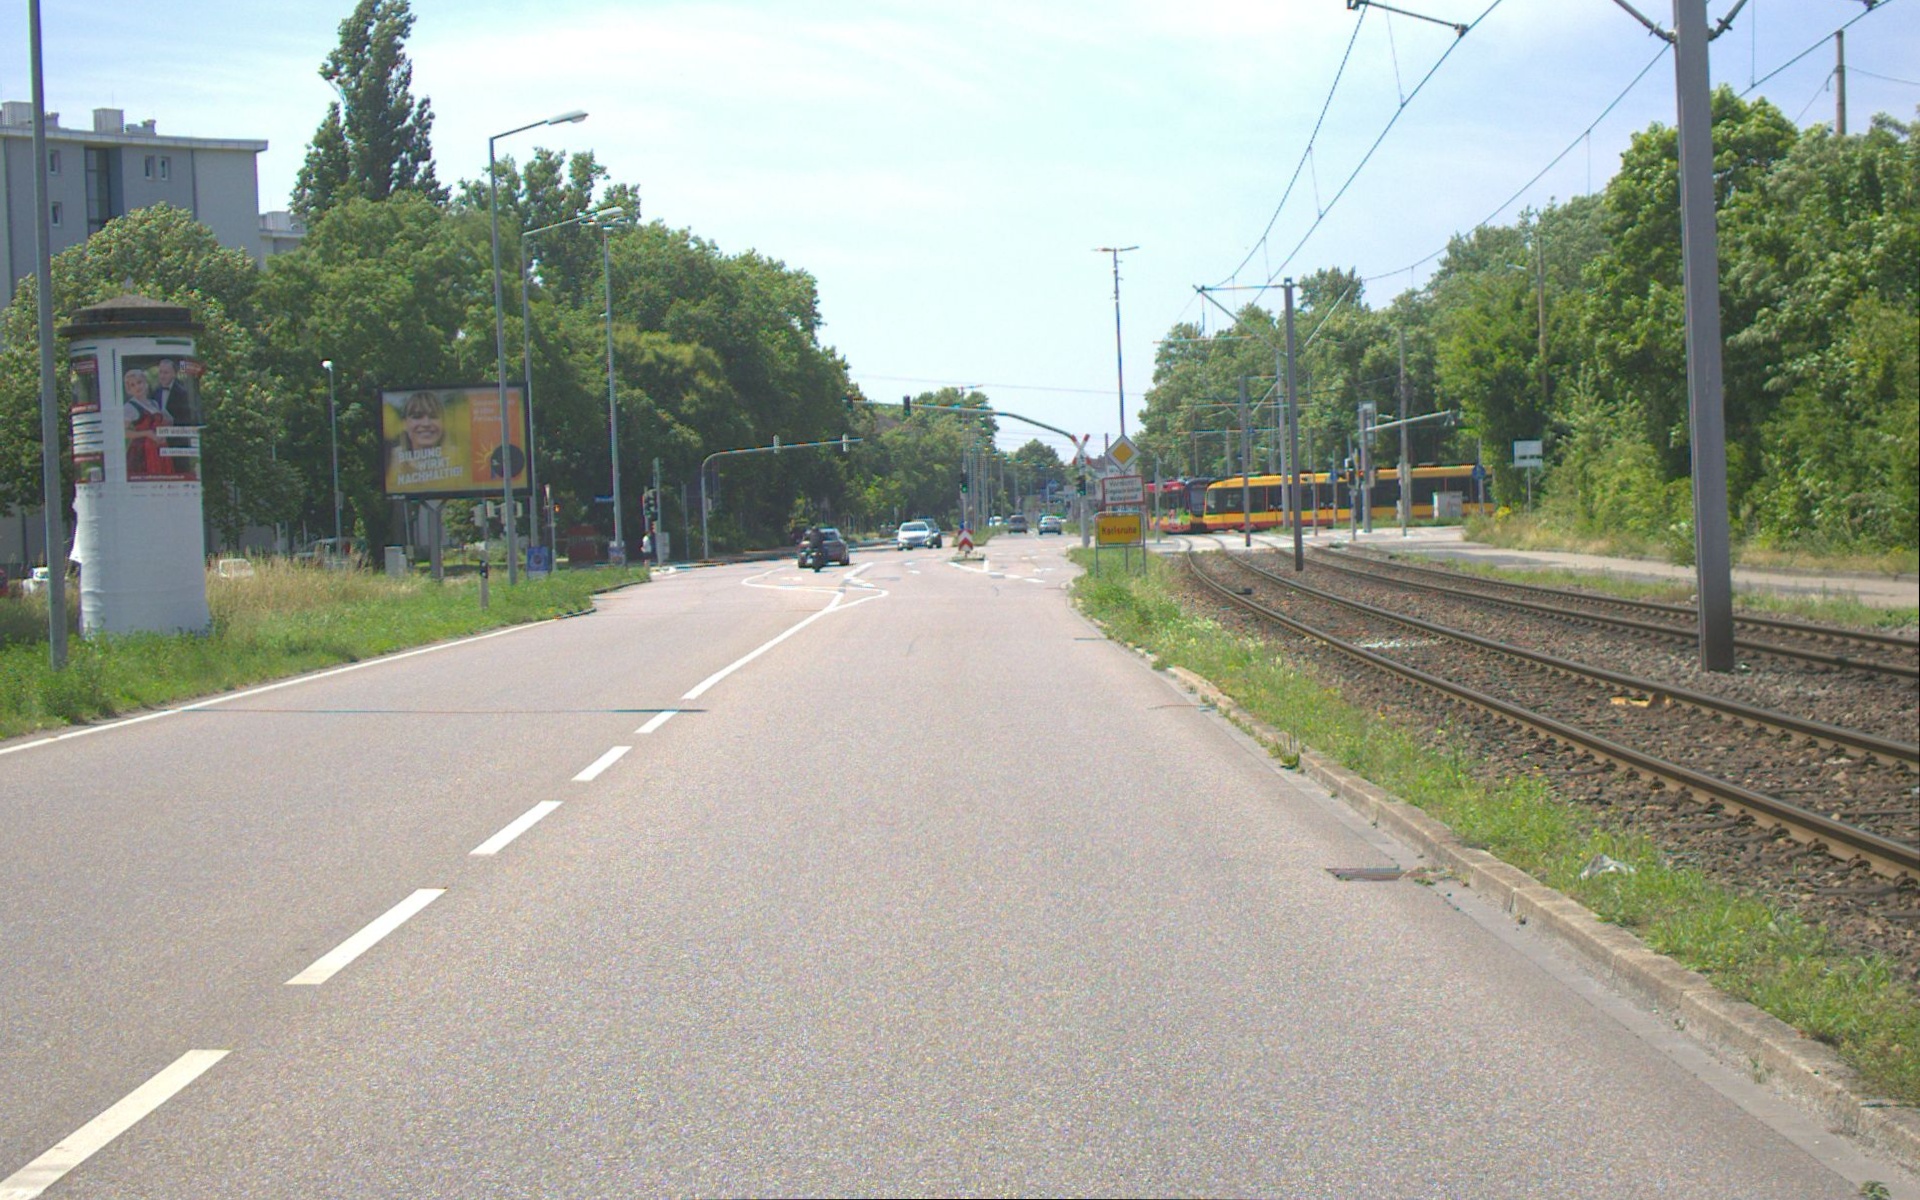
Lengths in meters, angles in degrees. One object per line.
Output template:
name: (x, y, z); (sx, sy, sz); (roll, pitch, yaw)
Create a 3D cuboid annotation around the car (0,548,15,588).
car: (-41.784, -1.341, 146.708); (1.846, 1.662, 4.000); (-3, 1, -29)

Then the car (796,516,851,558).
car: (-5.115, -2.384, 129.215); (1.906, 1.493, 4.630); (-1, 2, -1)

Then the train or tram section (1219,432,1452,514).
train or tram section: (21.707, -7.322, 199.851); (14.027, 3.906, 2.917); (-2, -2, 38)

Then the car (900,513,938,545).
car: (-2.168, -3.784, 182.528); (1.784, 1.623, 3.865); (-2, 2, 2)

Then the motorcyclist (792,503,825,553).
motorcyclist: (-5.011, -2.391, 113.909); (0.790, 1.637, 1.210); (-1, 1, 11)

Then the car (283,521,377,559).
car: (-32.173, -3.076, 175.606); (1.790, 1.762, 4.538); (-1, 2, 41)

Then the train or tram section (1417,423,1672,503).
train or tram section: (33.010, -7.709, 194.220); (13.928, 3.906, 2.921); (-1, -1, 15)

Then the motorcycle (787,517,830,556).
motorcycle: (-5.008, -2.109, 113.839); (0.847, 1.251, 2.448); (-1, 1, 11)

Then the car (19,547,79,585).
car: (-39.115, -1.471, 147.571); (1.704, 1.586, 4.001); (-2, 2, -25)

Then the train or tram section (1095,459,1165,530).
train or tram section: (10.757, -6.643, 218.711); (2.914, 3.799, 13.075); (-1, -1, -4)

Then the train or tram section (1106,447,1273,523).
train or tram section: (13.768, -6.922, 208.263); (2.914, 3.799, 13.455); (0, -1, -31)
